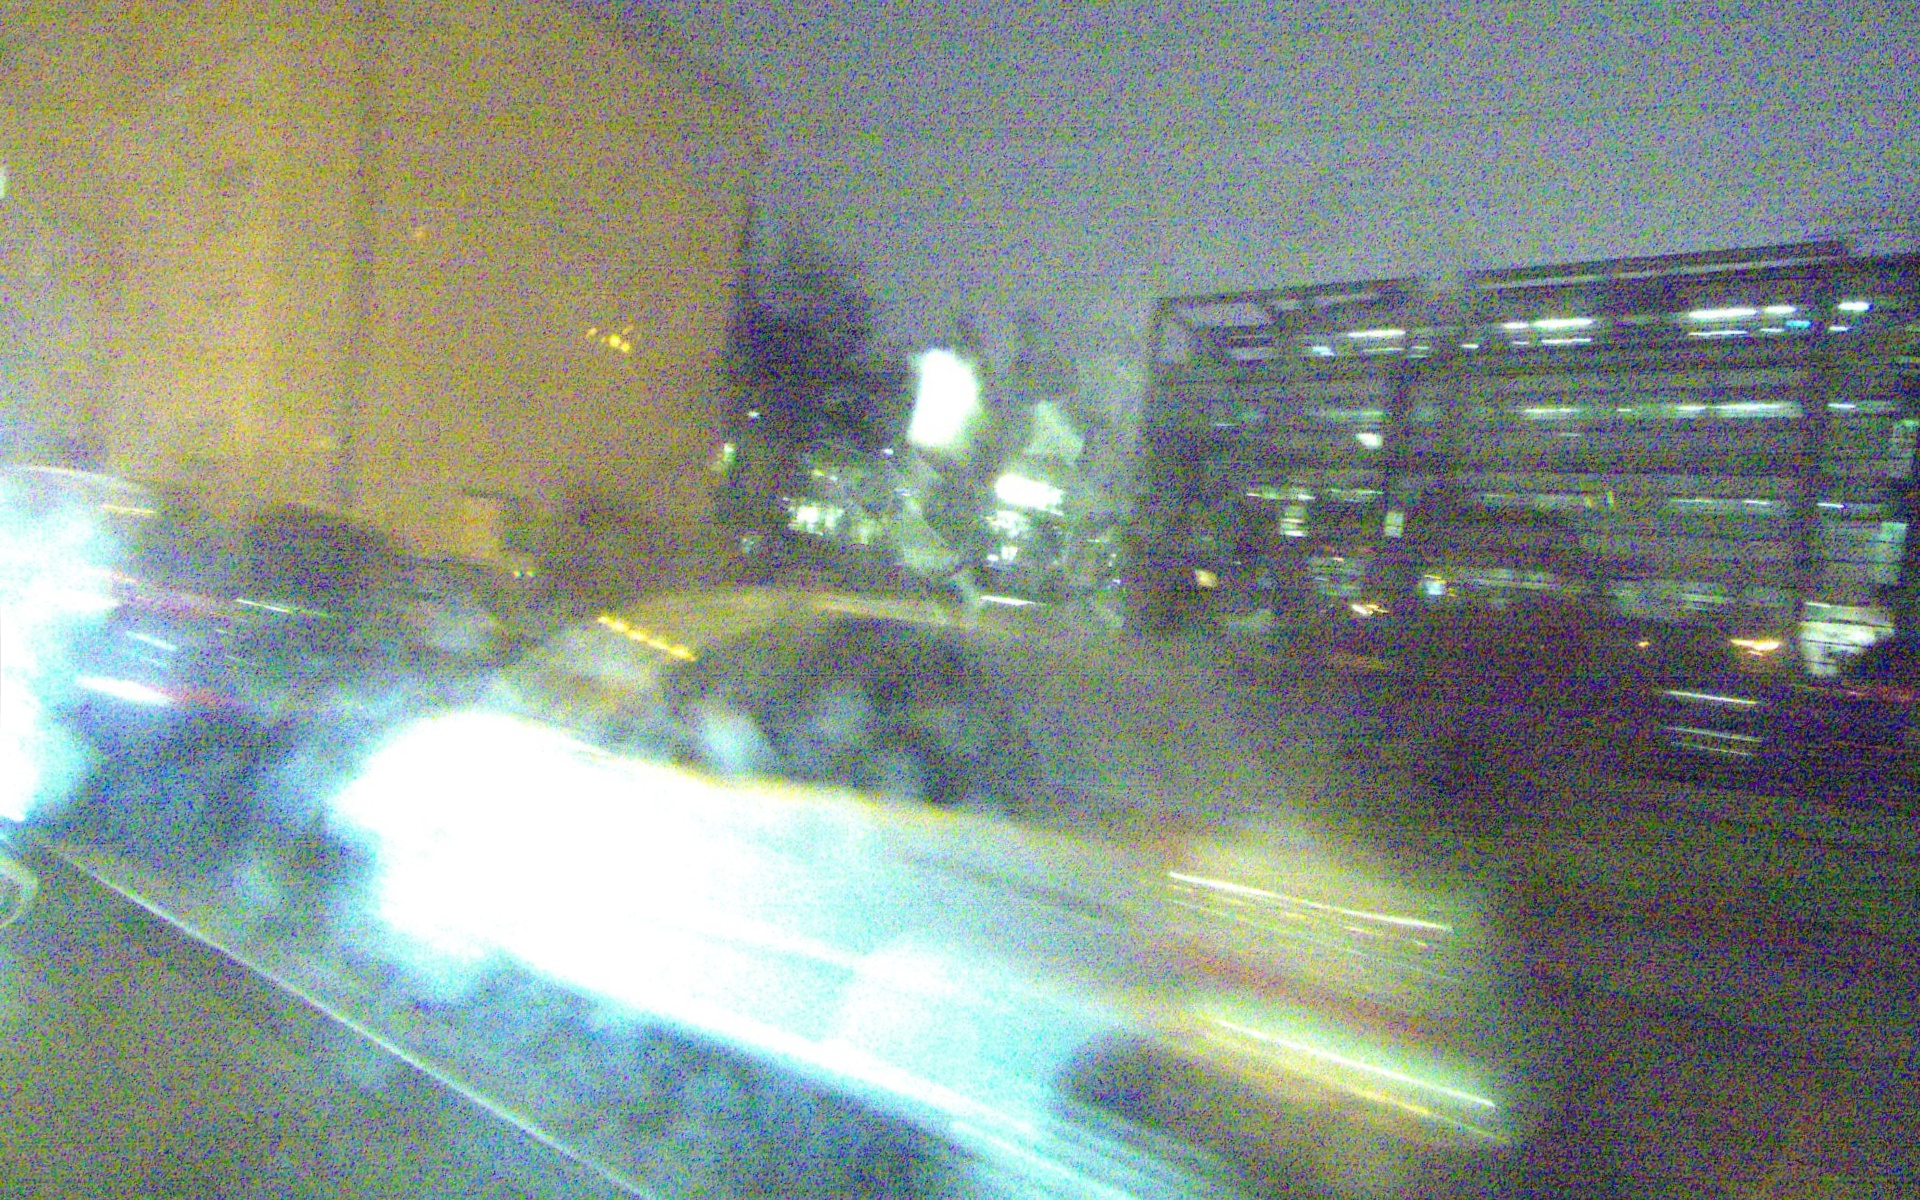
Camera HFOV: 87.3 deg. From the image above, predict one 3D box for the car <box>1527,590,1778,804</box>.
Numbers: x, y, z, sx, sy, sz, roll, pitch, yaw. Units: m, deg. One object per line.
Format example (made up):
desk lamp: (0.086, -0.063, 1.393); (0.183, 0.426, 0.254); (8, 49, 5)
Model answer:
car: (7.094, 0.933, 10.670); (1.657, 1.637, 4.222); (7, 0, 30)

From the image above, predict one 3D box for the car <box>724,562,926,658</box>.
car: (-2.374, 0.246, 18.543); (1.594, 1.418, 3.689); (7, 0, 32)

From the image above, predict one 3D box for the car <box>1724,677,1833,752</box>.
car: (24.287, 3.325, 30.026); (1.877, 1.828, 4.654); (6, 0, 33)

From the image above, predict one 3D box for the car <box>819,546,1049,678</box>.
car: (-0.288, 0.280, 16.813); (1.720, 1.812, 4.069); (7, 0, 32)

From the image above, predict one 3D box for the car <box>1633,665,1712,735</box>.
car: (21.797, 3.020, 30.907); (1.678, 1.802, 3.988); (7, 1, 34)

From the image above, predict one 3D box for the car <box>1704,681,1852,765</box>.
car: (16.558, 2.428, 20.561); (1.616, 1.265, 3.992); (7, 0, 30)

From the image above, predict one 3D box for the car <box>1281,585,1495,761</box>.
car: (5.133, 0.807, 11.758); (1.657, 1.540, 3.991); (7, 0, 30)

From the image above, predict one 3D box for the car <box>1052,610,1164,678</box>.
car: (4.311, 1.268, 28.703); (1.797, 1.584, 4.155); (7, 0, 27)

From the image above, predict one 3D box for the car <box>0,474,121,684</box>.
car: (-9.379, -0.395, 8.611); (4.510, 1.594, 1.882); (7, 3, 30)

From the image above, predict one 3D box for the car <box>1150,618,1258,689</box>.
car: (6.710, 1.452, 27.388); (1.797, 1.584, 4.155); (7, 0, 27)

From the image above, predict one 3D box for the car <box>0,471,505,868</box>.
car: (-5.061, 0.107, 6.085); (4.450, 1.594, 1.882); (7, 3, 30)

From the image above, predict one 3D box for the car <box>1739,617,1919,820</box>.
car: (9.365, 1.173, 10.077); (1.776, 1.637, 4.222); (7, 0, 30)

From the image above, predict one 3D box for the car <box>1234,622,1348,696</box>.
car: (8.634, 1.540, 26.068); (1.745, 1.583, 3.990); (7, 0, 32)

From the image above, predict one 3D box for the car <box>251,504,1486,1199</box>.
car: (-0.526, 0.631, 3.627); (4.083, 1.549, 1.755); (7, 3, 30)
